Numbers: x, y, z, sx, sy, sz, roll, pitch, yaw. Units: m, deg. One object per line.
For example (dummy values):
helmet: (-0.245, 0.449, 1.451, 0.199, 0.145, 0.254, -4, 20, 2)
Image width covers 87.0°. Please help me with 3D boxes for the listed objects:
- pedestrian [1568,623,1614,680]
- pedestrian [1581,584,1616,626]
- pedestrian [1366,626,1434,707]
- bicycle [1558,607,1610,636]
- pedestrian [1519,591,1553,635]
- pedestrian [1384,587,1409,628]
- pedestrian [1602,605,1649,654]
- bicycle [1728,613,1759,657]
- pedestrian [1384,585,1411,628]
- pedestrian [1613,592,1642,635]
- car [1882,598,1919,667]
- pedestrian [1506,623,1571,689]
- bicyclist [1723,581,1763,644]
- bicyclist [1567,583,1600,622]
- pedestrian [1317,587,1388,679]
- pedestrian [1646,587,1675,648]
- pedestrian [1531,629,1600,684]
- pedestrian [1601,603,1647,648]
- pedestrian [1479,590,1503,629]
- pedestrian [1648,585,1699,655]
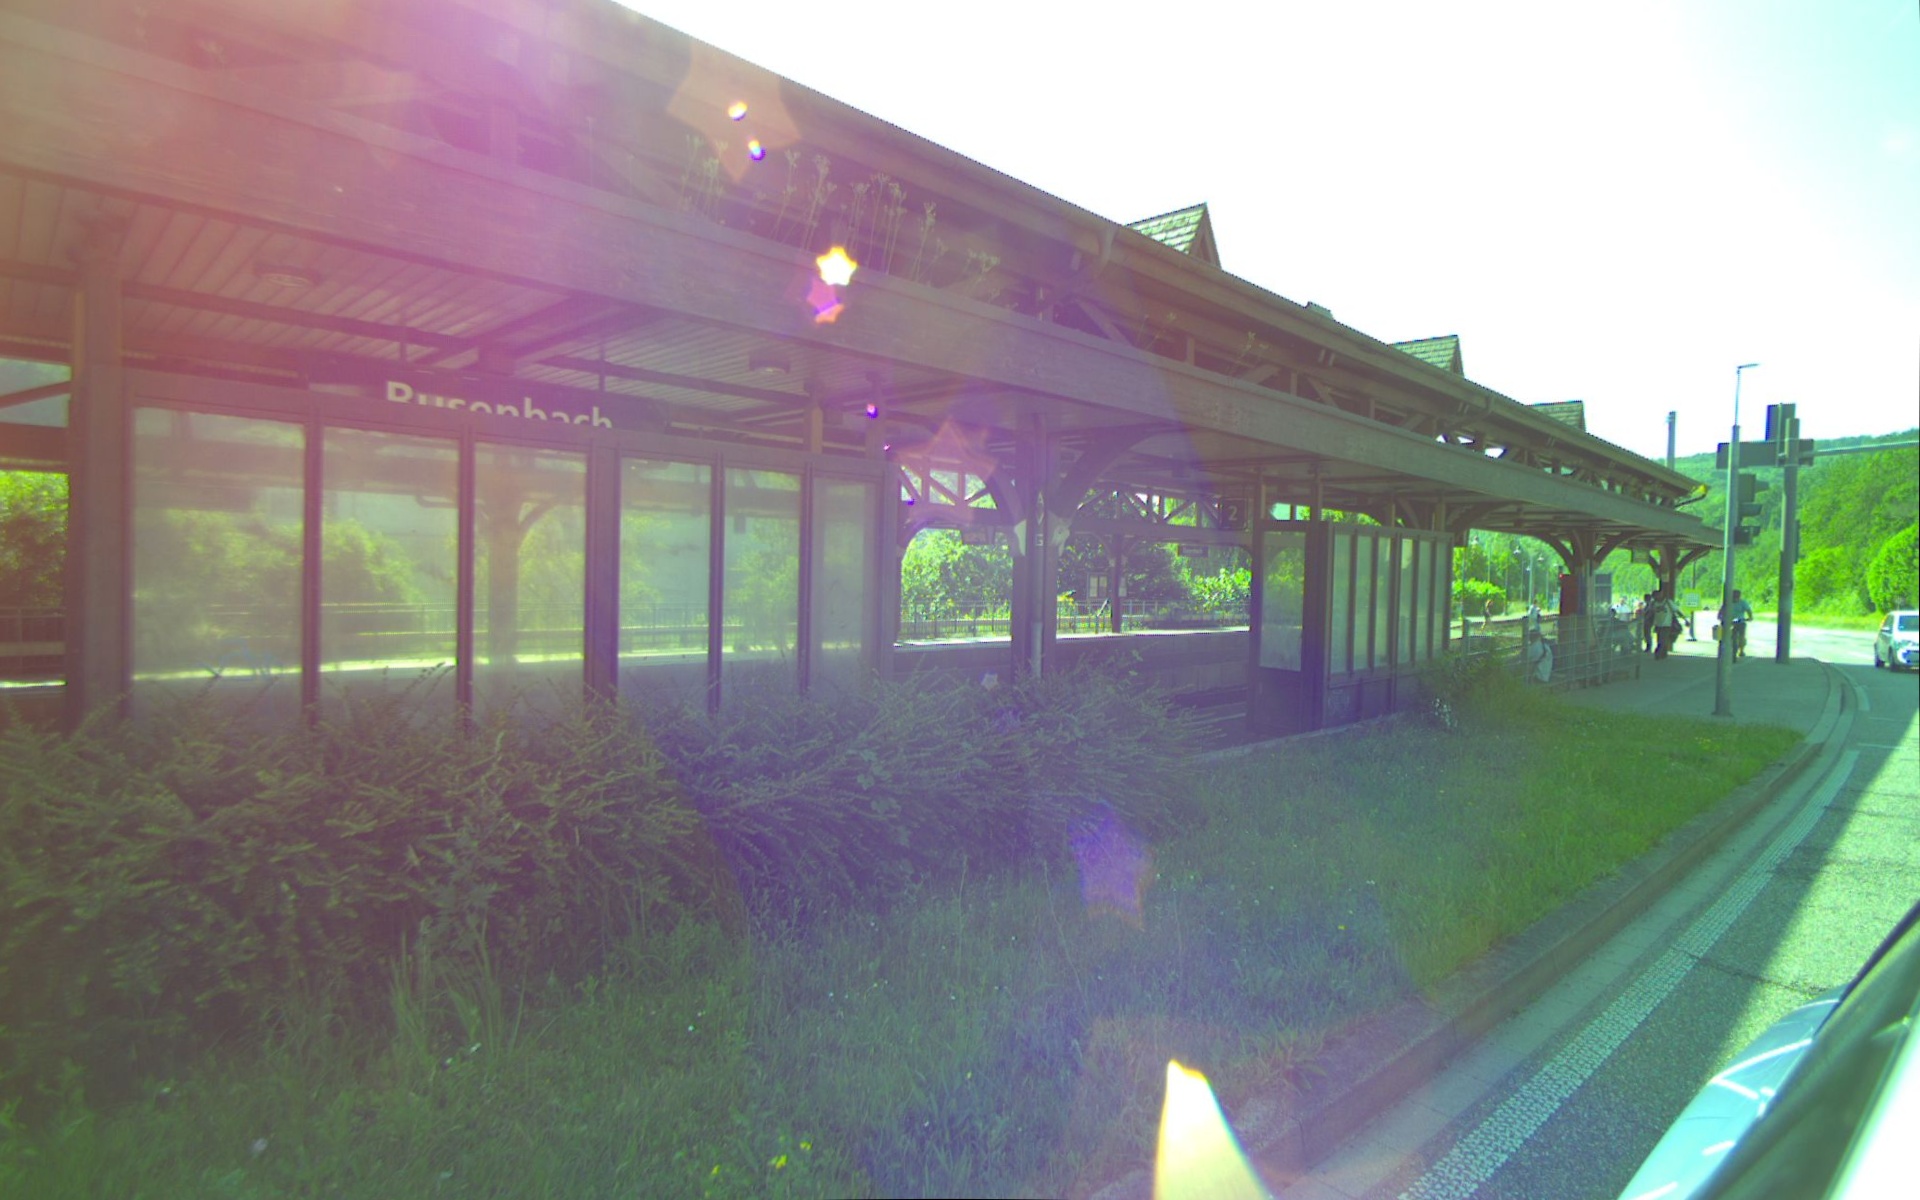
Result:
pedestrian: (11.229, 0.904, 18.011, 0.616, 0.978, 0.400, -1, -2, 42)
pedestrian: (26.345, 0.196, 41.790, 0.805, 1.706, 0.905, 1, -2, -20)
pedestrian: (6.416, 0.949, 14.750, 0.741, 1.131, 0.657, -1, -2, 42)
bicycle: (27.592, 0.956, 44.795, 0.695, 1.224, 2.024, 1, -1, -16)
pedestrian: (25.100, 0.578, 44.105, 1.054, 1.867, 0.989, 3, -2, -42)
pedestrian: (20.141, 0.365, 46.697, 0.899, 1.873, 0.811, -1, -2, 38)
pedestrian: (17.400, 0.774, 26.455, 0.988, 1.251, 0.589, -1, -2, 36)
bicycle: (20.102, 0.887, 25.971, 0.600, 1.069, 1.789, -1, -1, 37)
pedestrian: (19.164, 0.307, 44.353, 0.899, 1.873, 0.811, -1, -2, 38)
pedestrian: (26.577, 0.541, 40.292, 0.813, 1.706, 0.896, 0, -2, 24)
car: (24.298, 0.771, 24.951, 1.989, 1.605, 3.944, -1, -1, 38)
pedestrian: (9.110, 0.872, 15.947, 0.741, 0.995, 0.757, -1, -2, 42)
bicyclist: (20.094, 0.312, 25.990, 0.783, 1.589, 0.934, -1, -1, 38)
bicyclist: (27.613, 0.131, 44.815, 0.805, 1.706, 0.905, 1, -2, -15)
pedestrian: (6.980, 0.570, 17.999, 0.860, 1.567, 0.908, 1, -1, 43)
pedestrian: (20.149, 0.481, 29.112, 0.655, 1.713, 0.730, 1, 1, 35)
pedestrian: (10.142, 0.930, 16.947, 0.844, 0.885, 0.795, -1, -2, 42)
pedestrian: (18.043, 0.682, 27.499, 1.003, 1.174, 0.937, 1, 0, 35)
pedestrian: (23.650, 0.438, 45.073, 0.894, 1.706, 1.114, 0, -2, 26)
pedestrian: (18.444, 0.512, 26.154, 0.913, 1.759, 1.232, -1, -2, 42)
